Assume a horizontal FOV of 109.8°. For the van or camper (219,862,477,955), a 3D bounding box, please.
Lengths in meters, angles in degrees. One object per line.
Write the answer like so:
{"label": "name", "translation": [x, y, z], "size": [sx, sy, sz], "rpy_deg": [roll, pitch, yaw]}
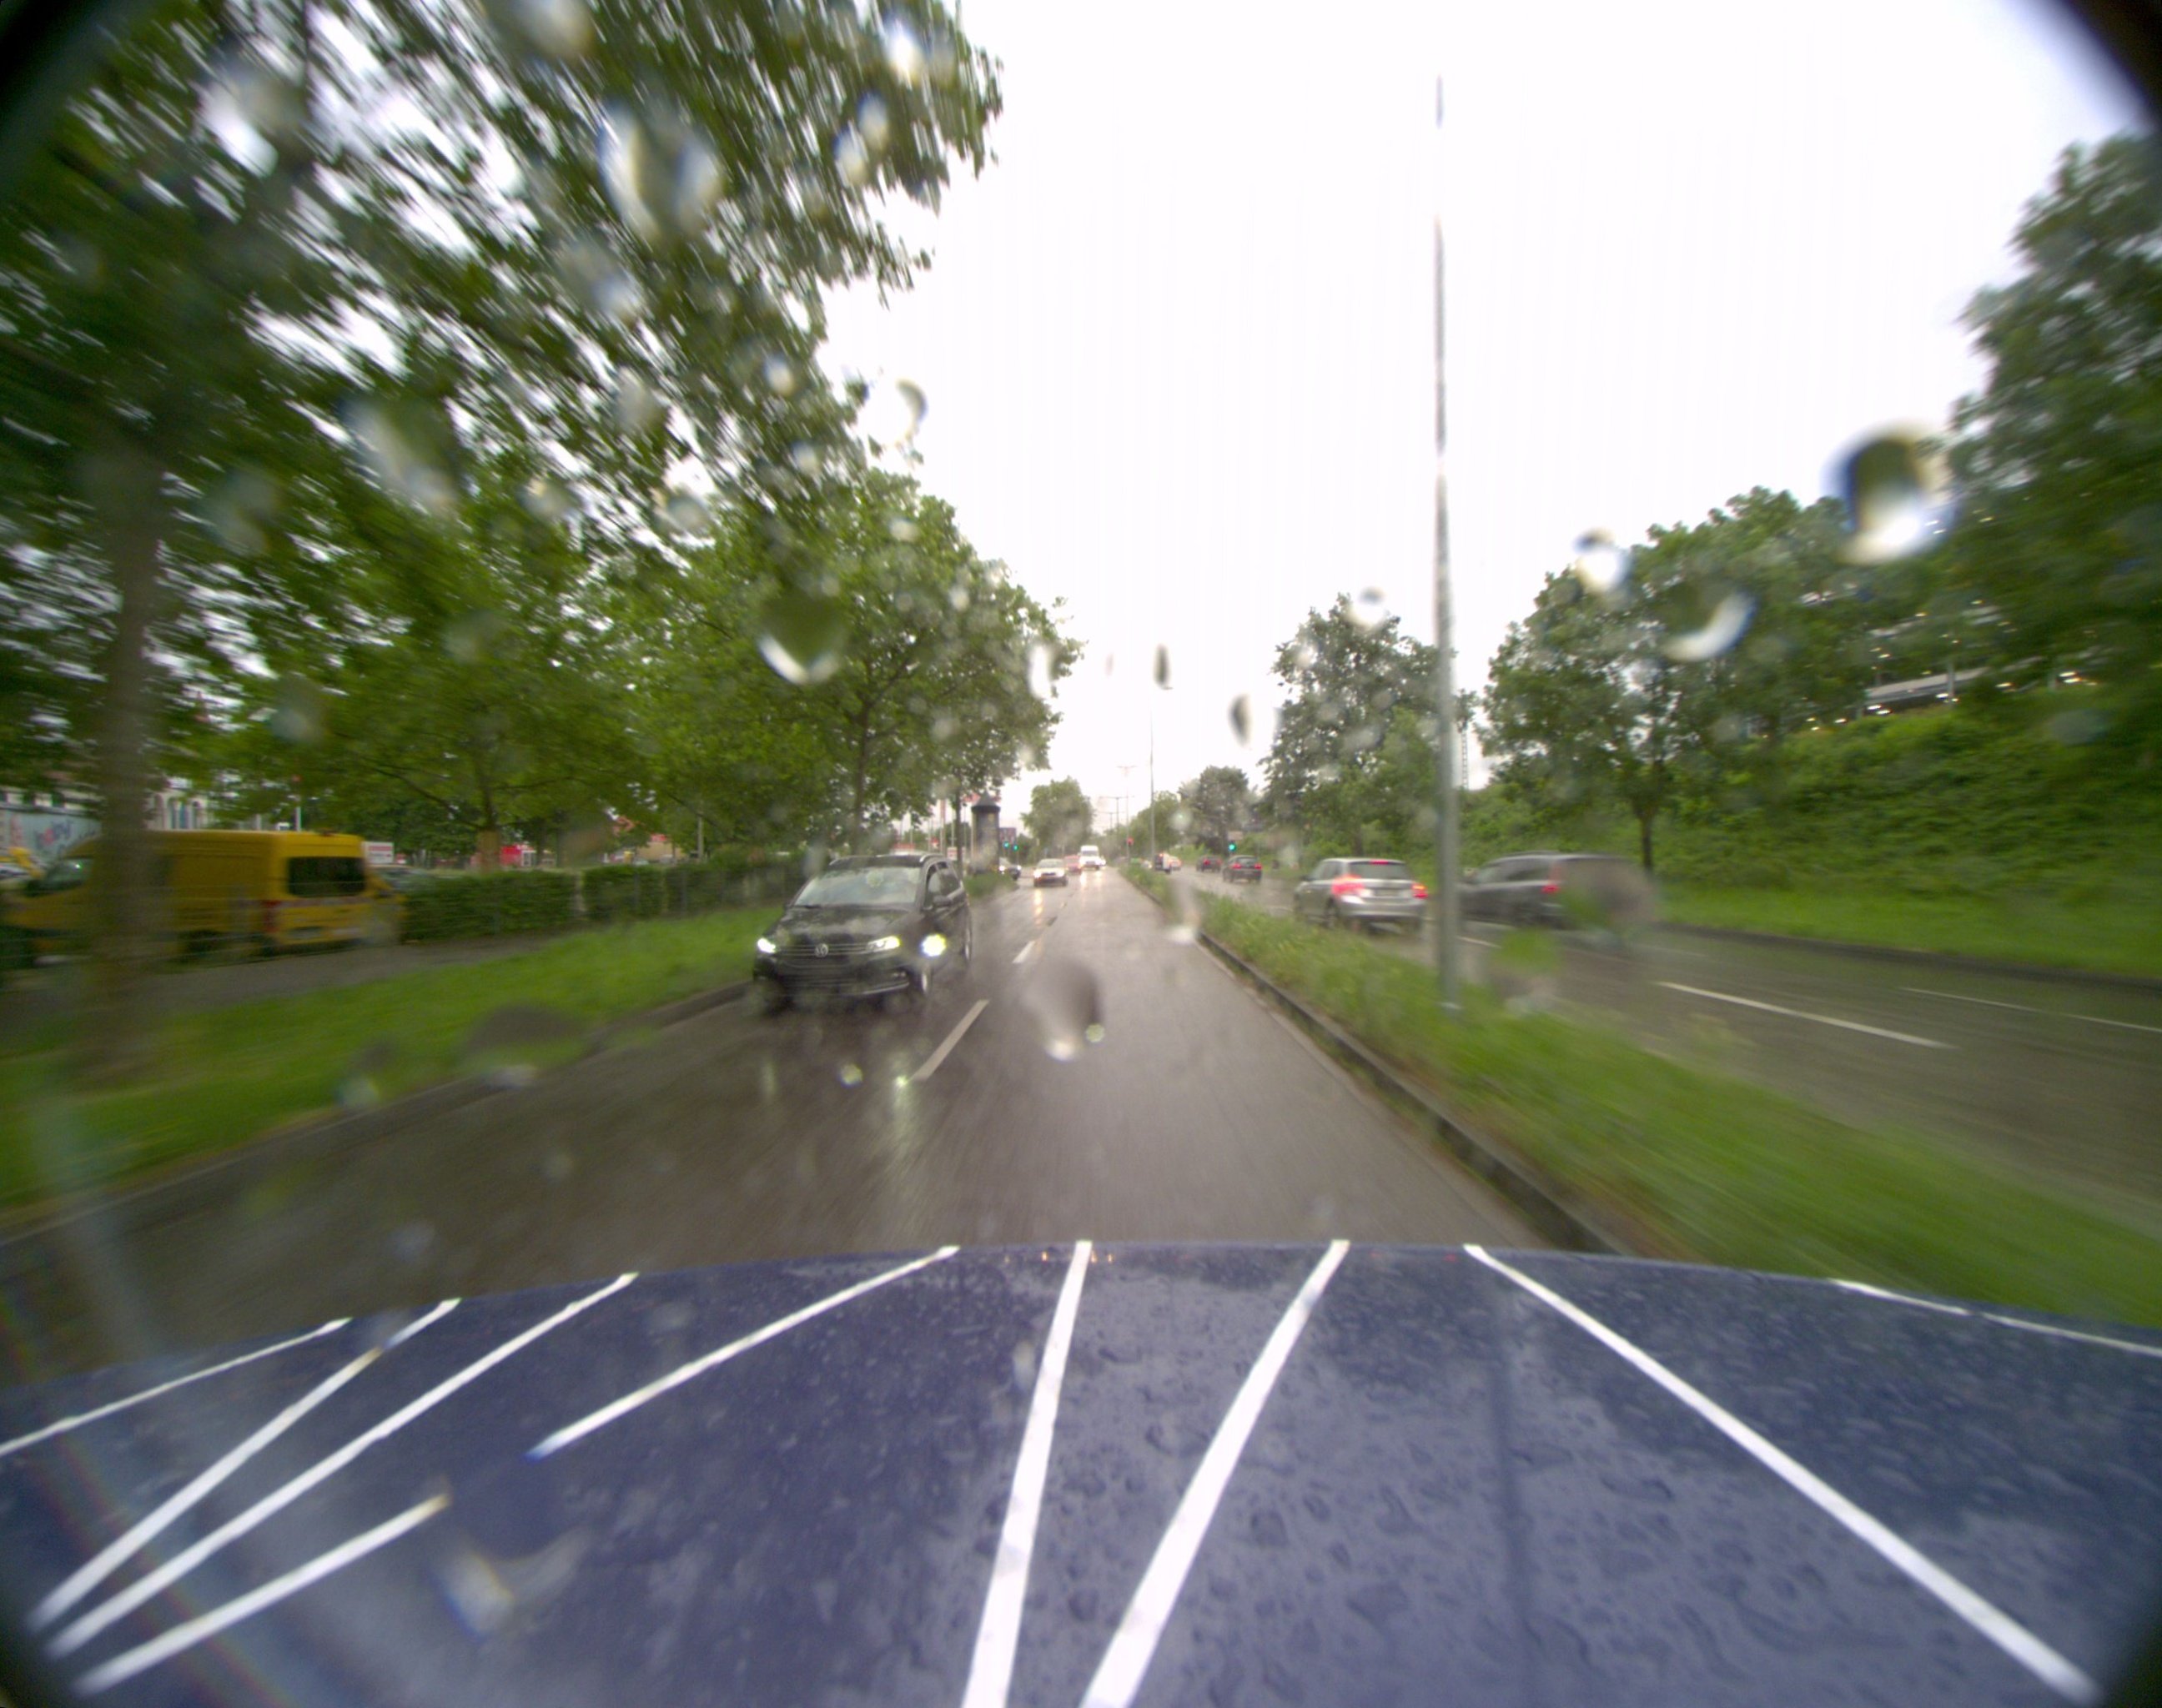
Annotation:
{"label": "van or camper", "translation": [-16.594, 1.183, 17.370], "size": [3.998, 1.895, 1.802], "rpy_deg": [-1, 0, -3]}

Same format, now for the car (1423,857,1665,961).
{"label": "car", "translation": [8.745, 0.919, 14.977], "size": [1.998, 1.678, 4.709], "rpy_deg": [2, 0, 2]}

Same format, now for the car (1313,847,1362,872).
{"label": "car", "translation": [18.103, 0.379, 53.838], "size": [1.998, 1.678, 4.709], "rpy_deg": [2, 0, 2]}

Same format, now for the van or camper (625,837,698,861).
{"label": "van or camper", "translation": [-61.357, -0.782, 111.231], "size": [8.994, 3.139, 2.979], "rpy_deg": [-2, 2, -34]}

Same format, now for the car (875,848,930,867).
{"label": "car", "translation": [-16.112, 0.329, 68.806], "size": [4.470, 1.663, 1.863], "rpy_deg": [0, 1, -37]}

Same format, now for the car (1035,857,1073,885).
{"label": "car", "translation": [-1.448, 0.914, 42.415], "size": [1.807, 1.422, 4.387], "rpy_deg": [-1, 0, 2]}

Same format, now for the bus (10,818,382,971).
{"label": "bus", "translation": [-16.528, 0.721, 14.378], "size": [4.803, 2.632, 2.000], "rpy_deg": [-1, 0, 3]}

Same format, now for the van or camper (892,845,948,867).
{"label": "van or camper", "translation": [-15.530, 0.155, 73.333], "size": [4.918, 2.076, 1.863], "rpy_deg": [0, 1, -37]}

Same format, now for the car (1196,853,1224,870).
{"label": "car", "translation": [13.095, 0.703, 77.465], "size": [2.042, 1.651, 4.678], "rpy_deg": [0, 0, 1]}

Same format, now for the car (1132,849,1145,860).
{"label": "car", "translation": [8.766, 0.112, 116.092], "size": [1.780, 1.552, 3.774], "rpy_deg": [-1, 0, 2]}

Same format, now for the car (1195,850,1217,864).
{"label": "car", "translation": [14.930, 0.301, 91.032], "size": [1.903, 1.604, 4.405], "rpy_deg": [0, 0, 0]}

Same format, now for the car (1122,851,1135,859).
{"label": "car", "translation": [9.762, 0.223, 156.568], "size": [1.977, 1.592, 4.386], "rpy_deg": [0, 0, -5]}

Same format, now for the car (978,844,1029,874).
{"label": "car", "translation": [-5.590, 0.315, 54.300], "size": [1.935, 2.044, 4.744], "rpy_deg": [0, 0, -29]}

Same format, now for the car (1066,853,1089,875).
{"label": "car", "translation": [-0.268, 0.791, 63.651], "size": [1.699, 1.759, 4.558], "rpy_deg": [0, 0, 2]}

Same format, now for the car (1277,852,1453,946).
{"label": "car", "translation": [5.614, 0.811, 15.672], "size": [1.903, 1.603, 4.110], "rpy_deg": [2, 0, -2]}

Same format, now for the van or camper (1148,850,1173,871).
{"label": "van or camper", "translation": [6.991, 0.533, 66.869], "size": [1.733, 1.732, 4.000], "rpy_deg": [2, 0, 0]}

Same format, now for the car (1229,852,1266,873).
{"label": "car", "translation": [12.741, 0.617, 58.412], "size": [1.903, 1.604, 4.477], "rpy_deg": [0, 0, 0]}

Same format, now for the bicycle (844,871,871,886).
{"label": "bicycle", "translation": [-15.391, 1.680, 52.352], "size": [1.621, 1.032, 0.814], "rpy_deg": [1, 1, 22]}

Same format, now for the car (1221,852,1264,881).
{"label": "car", "translation": [9.779, 0.737, 46.302], "size": [1.903, 1.604, 4.112], "rpy_deg": [2, 0, 3]}

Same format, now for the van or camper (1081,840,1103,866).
{"label": "van or camper", "translation": [1.227, -0.115, 80.299], "size": [2.100, 2.579, 4.776], "rpy_deg": [-2, 0, 2]}

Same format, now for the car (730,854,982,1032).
{"label": "car", "translation": [-2.518, 0.890, 9.659], "size": [1.861, 1.716, 4.190], "rpy_deg": [-1, 0, 1]}

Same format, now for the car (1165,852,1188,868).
{"label": "car", "translation": [10.107, 0.582, 80.617], "size": [1.903, 1.604, 4.712], "rpy_deg": [2, 0, 1]}
